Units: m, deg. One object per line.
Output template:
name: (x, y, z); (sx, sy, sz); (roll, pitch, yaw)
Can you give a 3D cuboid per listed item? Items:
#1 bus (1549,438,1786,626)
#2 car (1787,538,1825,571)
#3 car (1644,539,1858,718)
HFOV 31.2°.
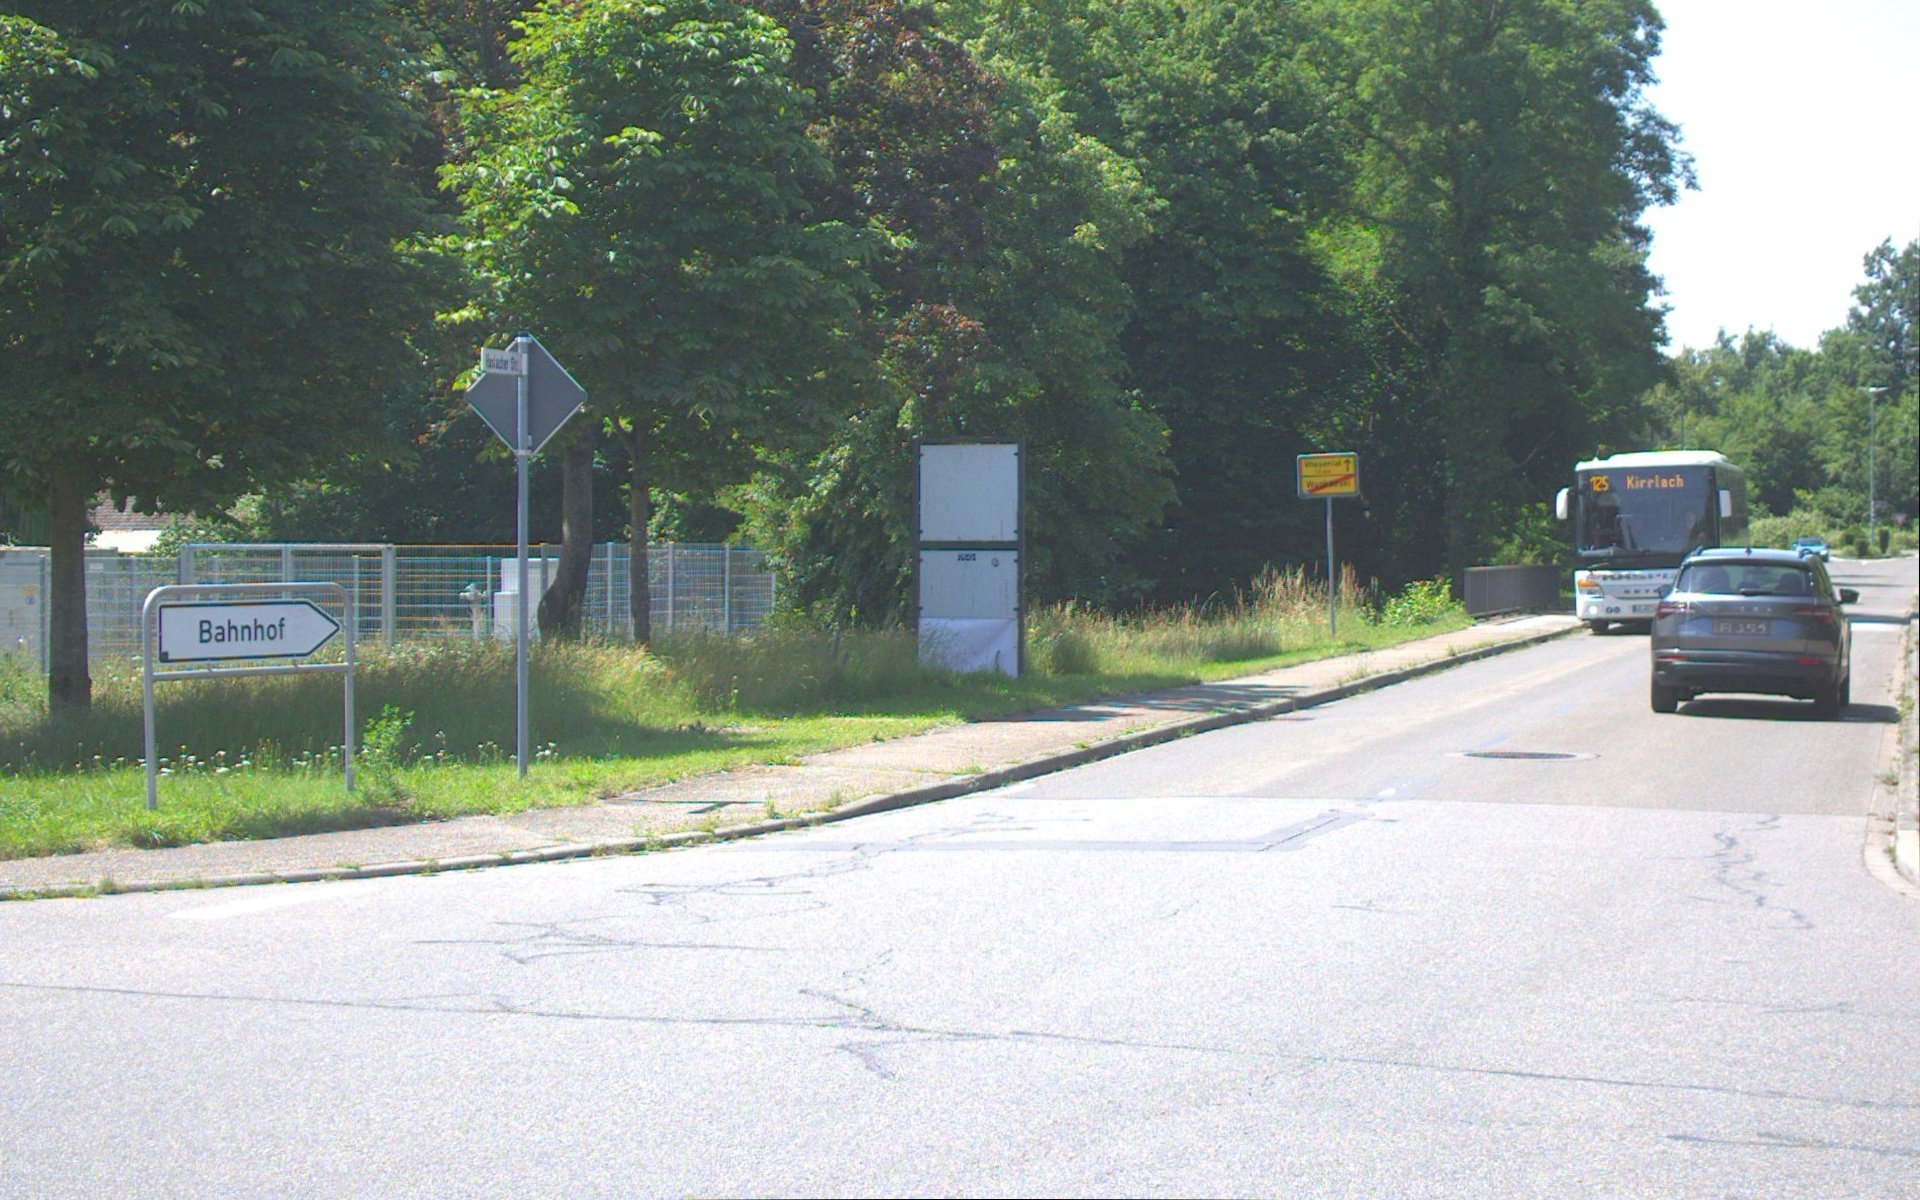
bus: (13.766, -1.281, 65.937); (3.184, 3.233, 12.701); (0, 1, 17)
car: (48.063, -2.606, 195.407); (1.952, 1.853, 3.998); (0, 1, 12)
car: (7.854, 0.250, 33.923); (1.764, 1.612, 3.997); (2, 1, 17)
